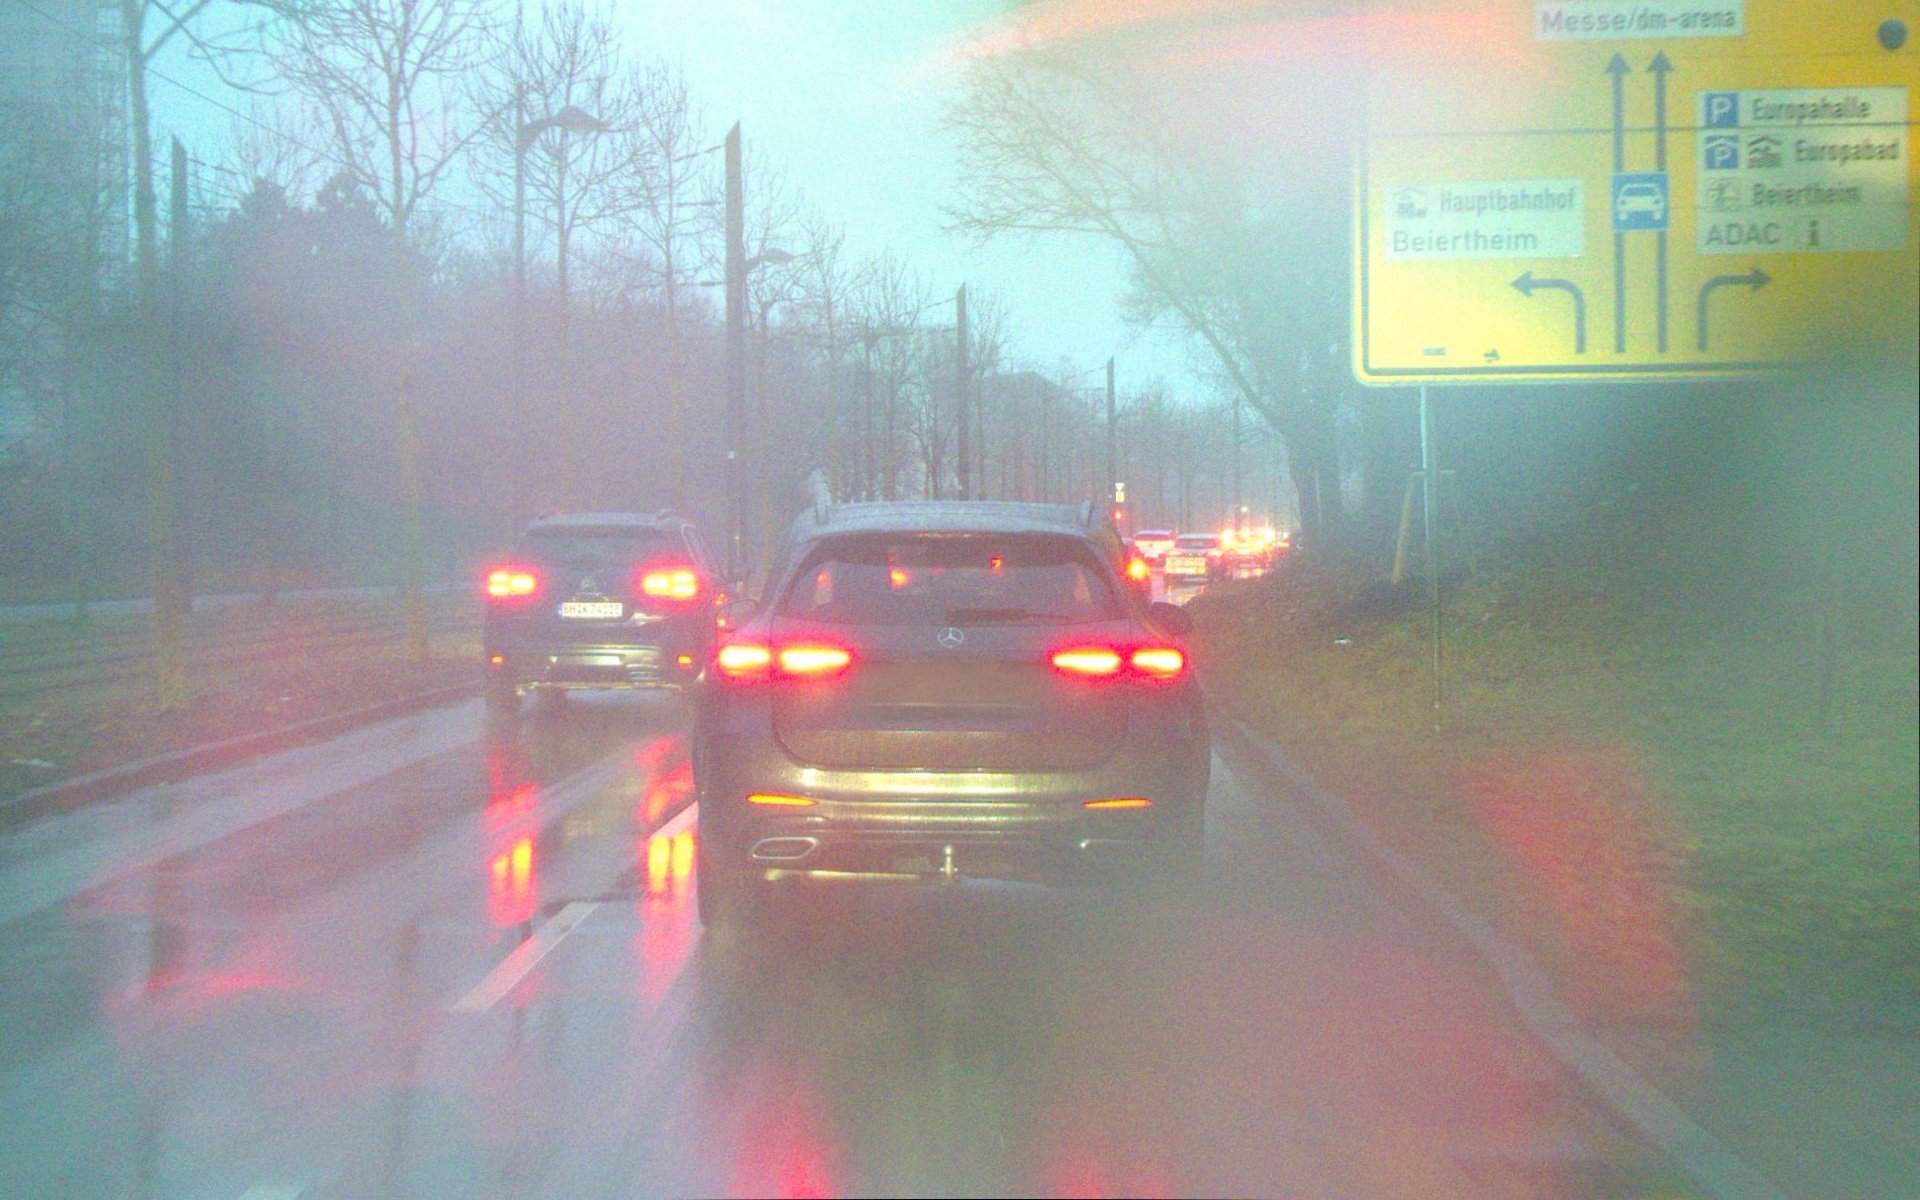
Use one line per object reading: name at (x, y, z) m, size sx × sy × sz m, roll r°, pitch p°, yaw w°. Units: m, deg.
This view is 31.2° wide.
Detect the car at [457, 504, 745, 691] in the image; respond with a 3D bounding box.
car at (-2.960, -0.071, 29.171) m, size 1.880 × 1.454 × 4.000 m, roll 0°, pitch 2°, yaw 2°

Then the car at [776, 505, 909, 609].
car at (-1.848, -0.719, 55.193) m, size 1.880 × 1.588 × 4.000 m, roll 0°, pitch 2°, yaw 2°

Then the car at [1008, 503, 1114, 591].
car at (1.889, -0.987, 63.163) m, size 1.709 × 1.552 × 3.995 m, roll 0°, pitch 1°, yaw 5°

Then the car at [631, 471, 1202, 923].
car at (-0.141, 0.285, 14.075) m, size 1.998 × 1.578 × 4.000 m, roll 0°, pitch 2°, yaw 0°
